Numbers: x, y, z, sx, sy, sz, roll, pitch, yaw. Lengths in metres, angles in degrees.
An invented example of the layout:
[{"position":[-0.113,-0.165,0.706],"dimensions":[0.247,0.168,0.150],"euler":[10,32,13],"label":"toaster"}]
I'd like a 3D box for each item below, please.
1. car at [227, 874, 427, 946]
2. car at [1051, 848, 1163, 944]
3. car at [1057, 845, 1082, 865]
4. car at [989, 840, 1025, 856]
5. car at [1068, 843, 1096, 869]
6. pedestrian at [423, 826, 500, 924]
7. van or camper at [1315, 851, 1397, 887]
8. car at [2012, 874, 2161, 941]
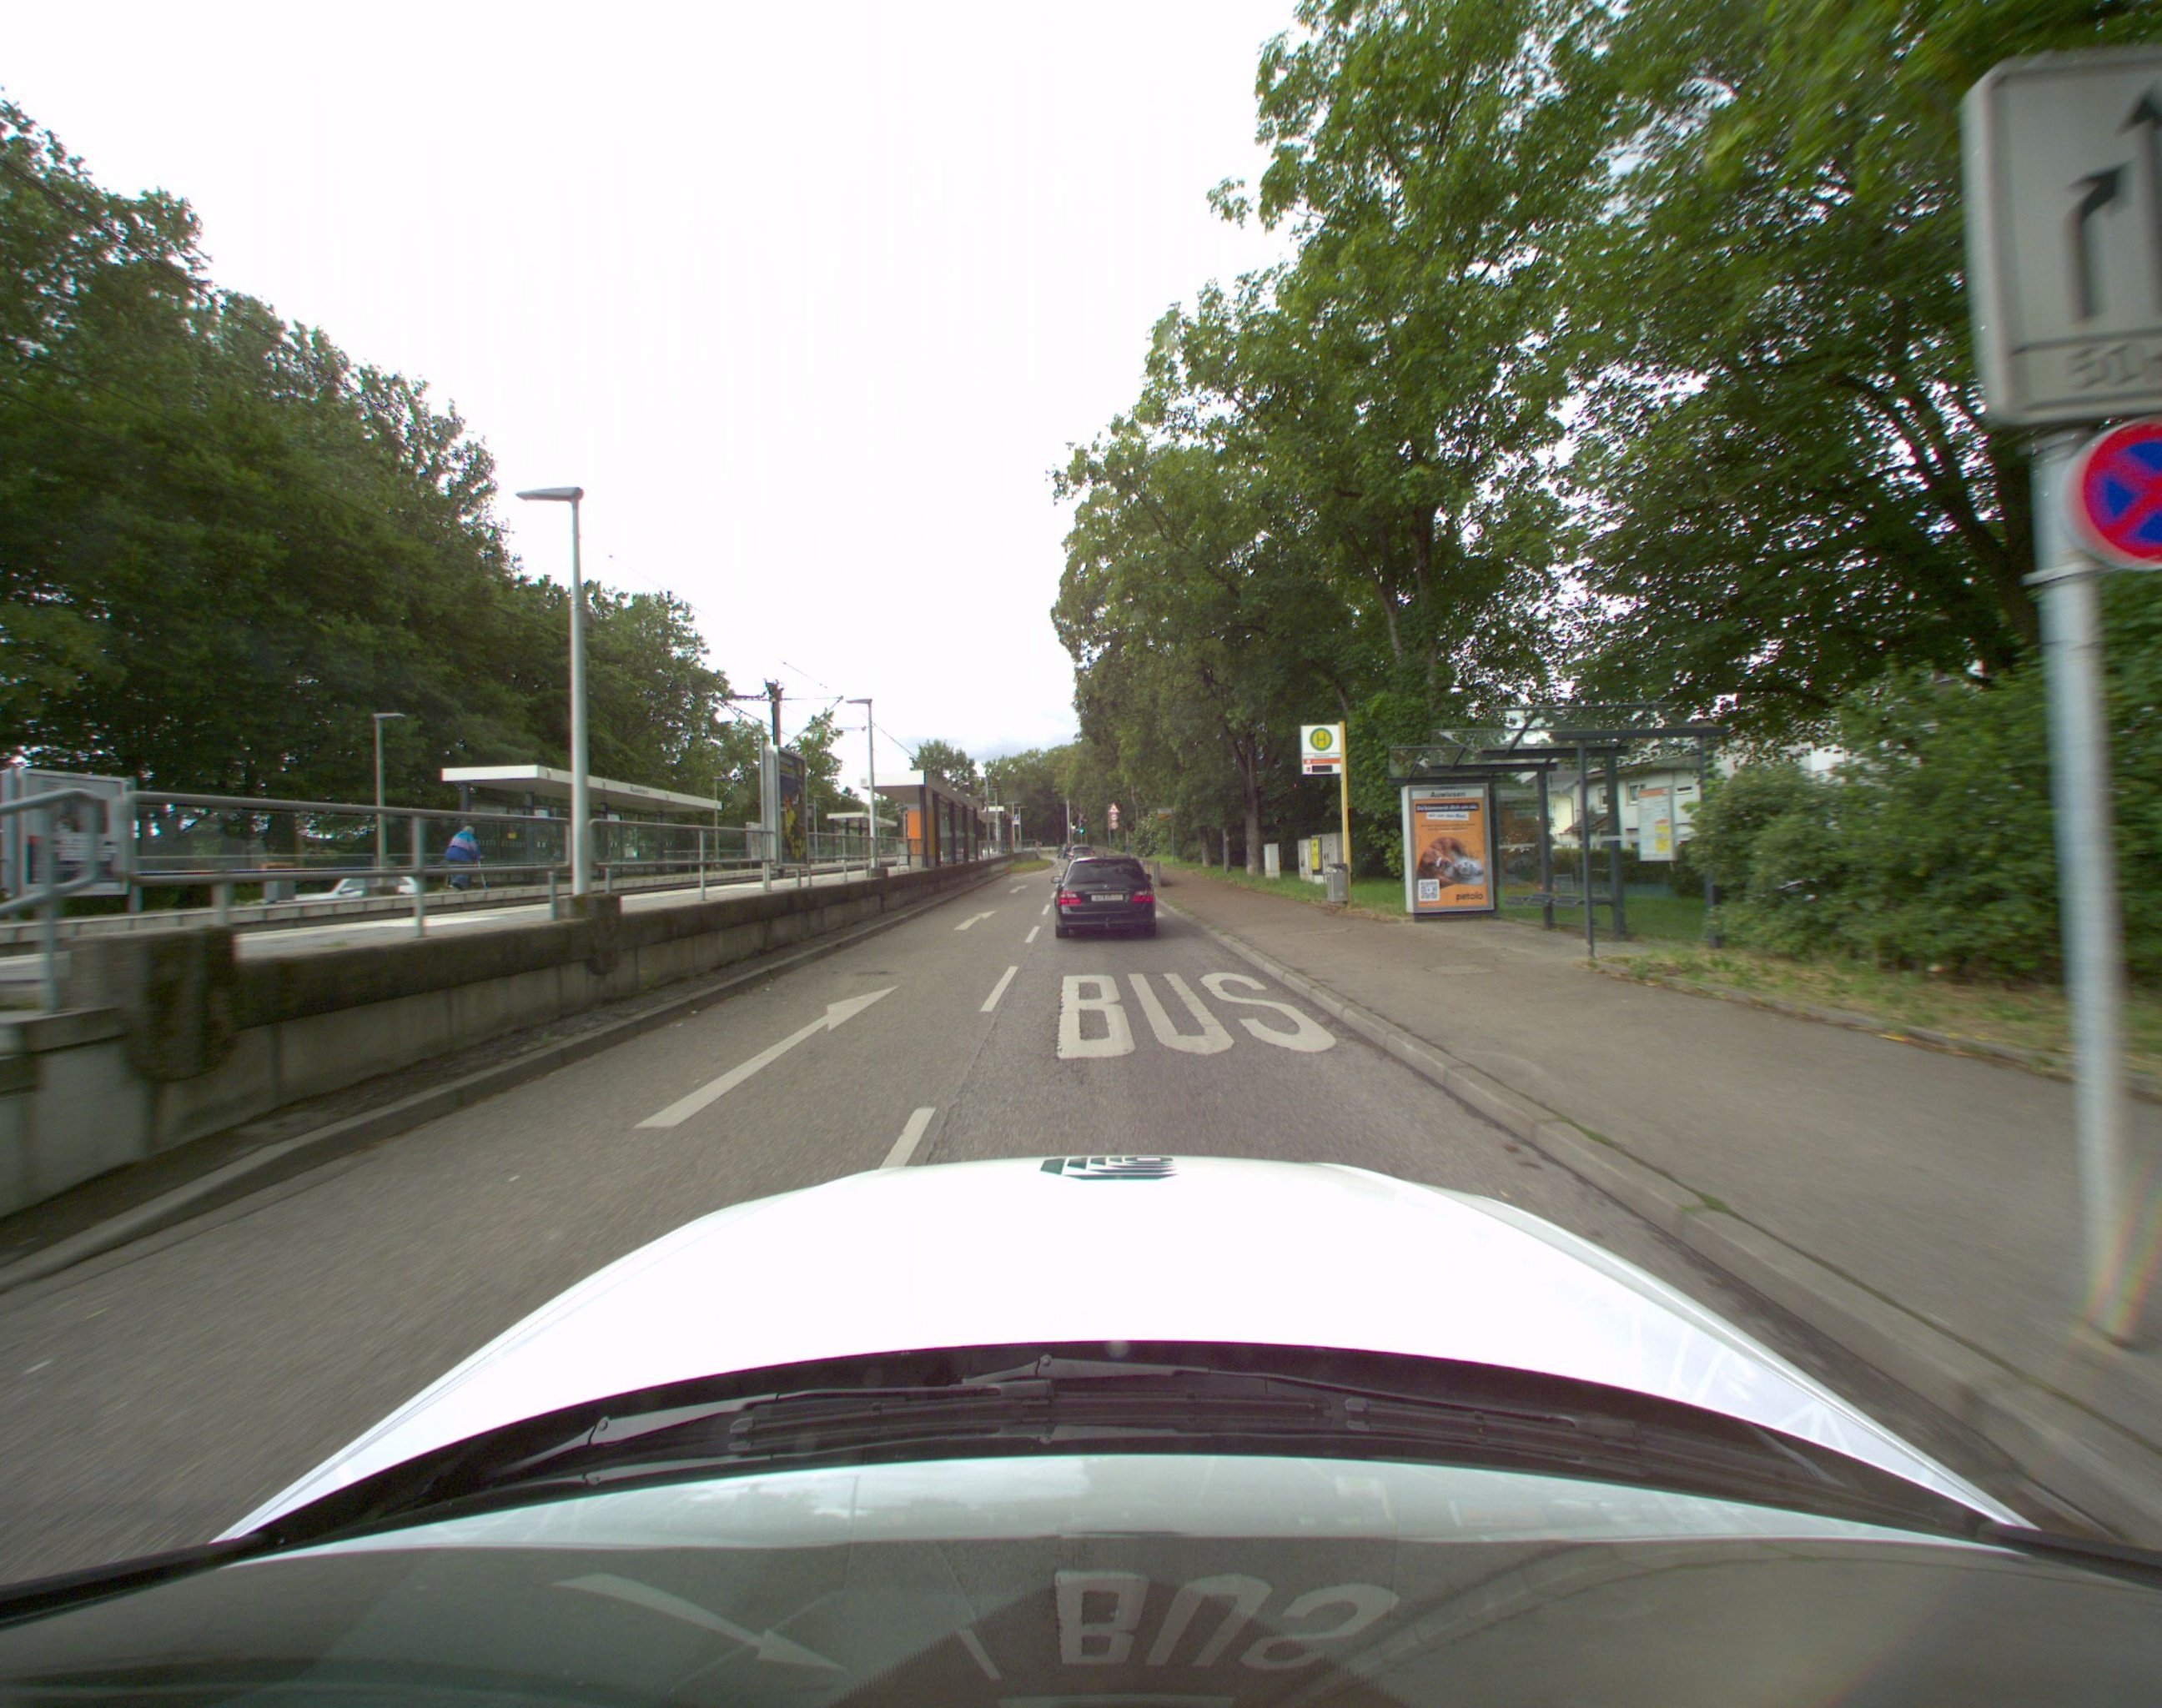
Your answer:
[{"position":[-21.737,1.535,23.774],"dimensions":[1.705,1.751,4.398],"euler":[-3,-1,-1],"label":"car"},{"position":[0.360,0.682,15.489],"dimensions":[1.777,1.525,3.996],"euler":[-2,0,-3],"label":"car"},{"position":[-1.154,0.095,81.004],"dimensions":[1.992,1.918,3.989],"euler":[0,-1,-7],"label":"car"},{"position":[-8.847,-0.737,97.778],"dimensions":[3.948,1.893,2.013],"euler":[0,-1,36],"label":"car"},{"position":[0.049,0.084,54.823],"dimensions":[1.776,1.648,3.998],"euler":[2,1,-1],"label":"car"},{"position":[-14.333,0.469,18.870],"dimensions":[0.966,2.186,0.976],"euler":[-2,0,0],"label":"pedestrian"},{"position":[16.245,0.867,48.507],"dimensions":[2.177,2.014,5.822],"euler":[0,-1,-9],"label":"van or camper"},{"position":[21.553,1.051,16.106],"dimensions":[1.622,1.246,3.843],"euler":[0,-1,-11],"label":"car"}]
